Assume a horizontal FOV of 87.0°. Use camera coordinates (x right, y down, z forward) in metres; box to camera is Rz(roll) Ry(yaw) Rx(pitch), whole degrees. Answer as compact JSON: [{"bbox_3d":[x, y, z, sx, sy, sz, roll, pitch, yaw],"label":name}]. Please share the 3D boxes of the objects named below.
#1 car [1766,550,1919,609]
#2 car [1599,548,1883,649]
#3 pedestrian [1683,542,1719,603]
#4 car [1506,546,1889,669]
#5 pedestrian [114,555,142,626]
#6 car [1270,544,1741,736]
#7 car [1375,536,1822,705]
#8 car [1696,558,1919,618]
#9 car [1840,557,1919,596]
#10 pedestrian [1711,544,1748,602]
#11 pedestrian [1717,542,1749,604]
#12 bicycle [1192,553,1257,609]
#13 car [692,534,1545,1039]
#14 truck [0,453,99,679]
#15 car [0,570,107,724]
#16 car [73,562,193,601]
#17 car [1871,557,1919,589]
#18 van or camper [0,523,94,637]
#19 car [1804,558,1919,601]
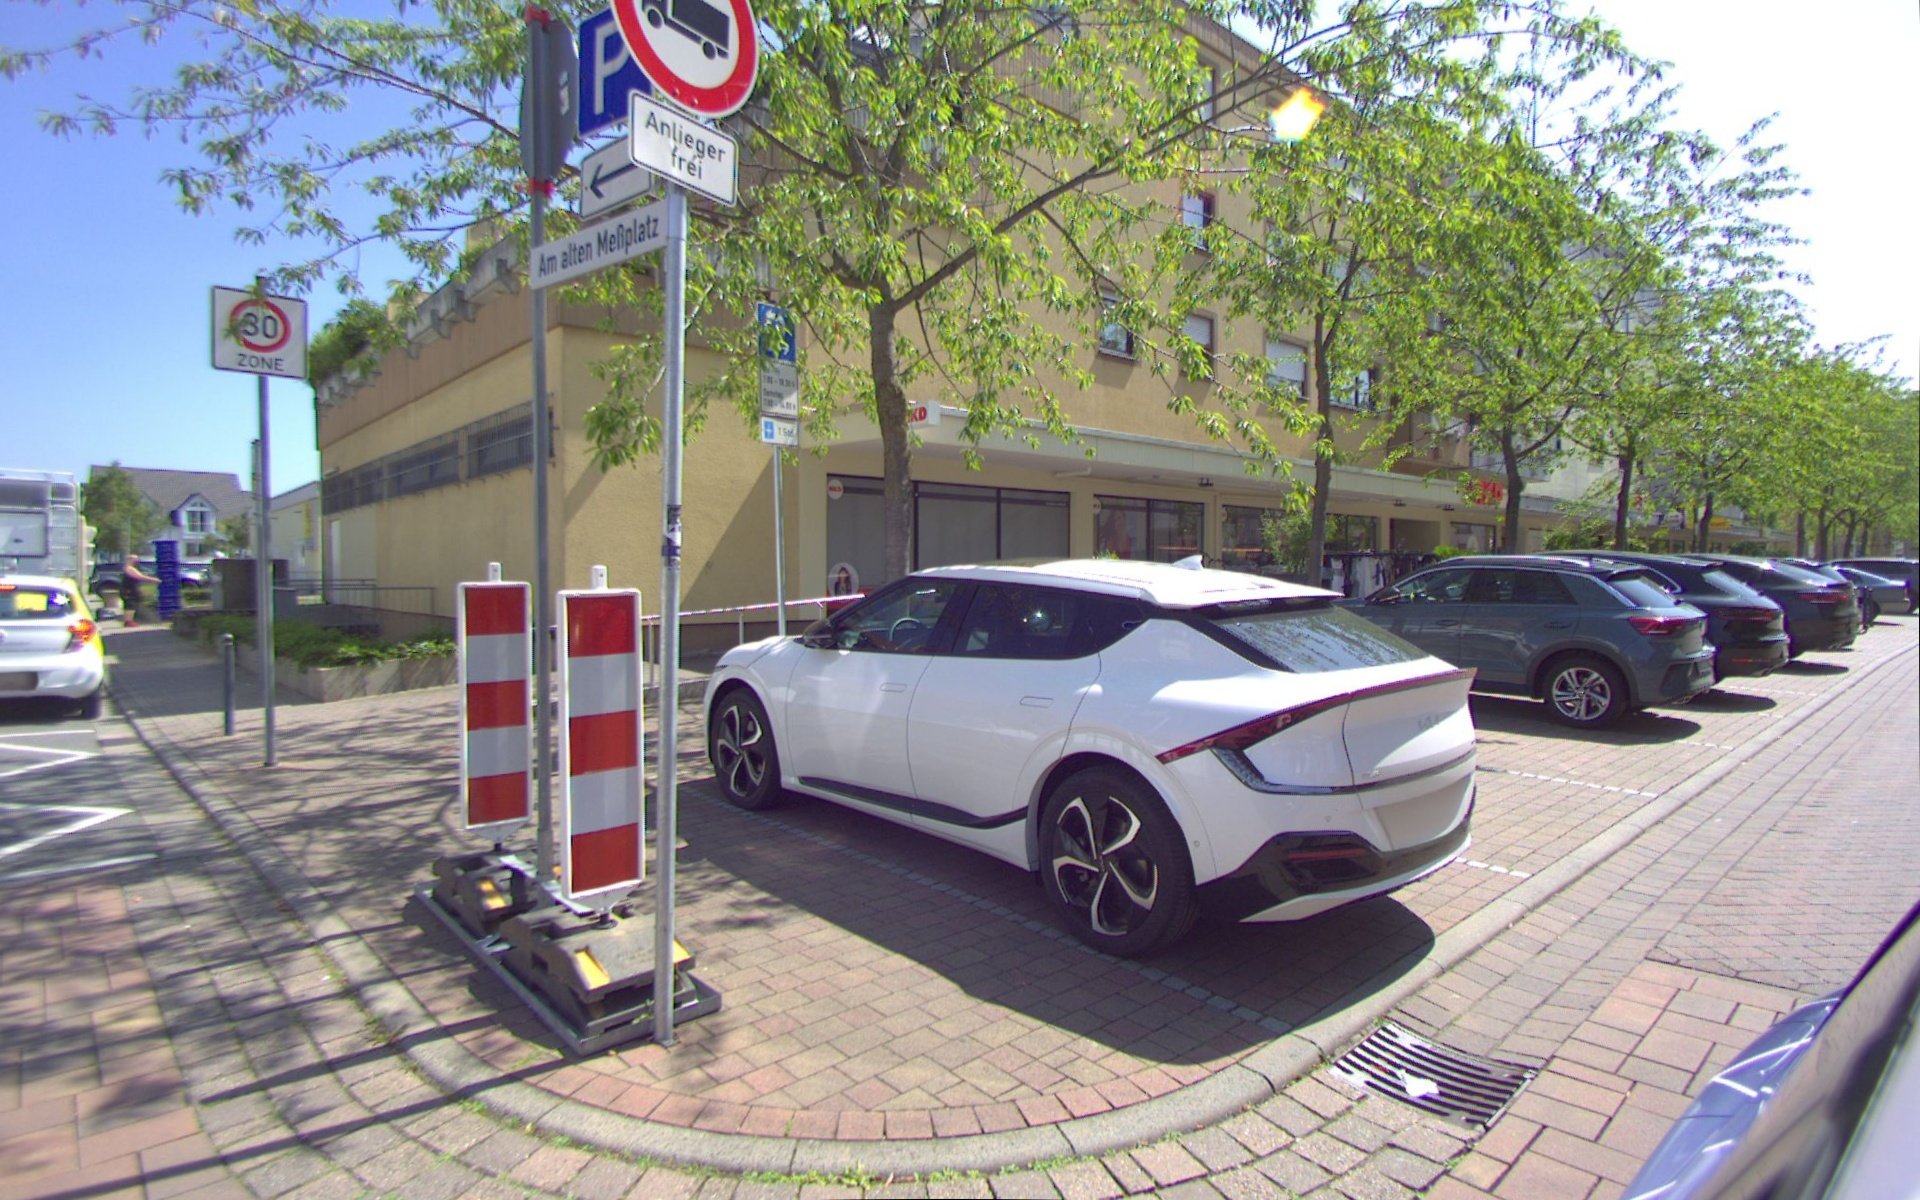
[{"bbox_3d":[27.088,-0.640,30.416,1.728,1.637,4.249,-2,4,-43],"label":"car"},{"bbox_3d":[14.704,-0.129,19.225,1.653,1.631,4.033,-2,5,-43],"label":"car"},{"bbox_3d":[22.165,-0.821,30.289,0.621,1.795,0.685,0,1,10],"label":"pedestrian"},{"bbox_3d":[11.318,-0.011,15.836,1.818,1.607,4.519,-2,4,-40],"label":"car"},{"bbox_3d":[-20.859,-0.248,25.380,0.492,1.752,0.760,-1,2,-39],"label":"pedestrian"},{"bbox_3d":[5.513,0.232,10.595,1.794,1.552,3.950,-2,5,-43],"label":"car"},{"bbox_3d":[7.640,0.086,12.418,1.968,1.701,4.283,-2,4,-44],"label":"car"},{"bbox_3d":[22.296,-0.368,26.719,4.346,1.481,1.873,1,3,28],"label":"car"},{"bbox_3d":[37.182,-0.931,39.725,1.586,1.448,3.798,-2,4,-41],"label":"car"},{"bbox_3d":[23.536,-0.830,30.967,0.634,1.752,0.617,-2,1,-8],"label":"pedestrian"},{"bbox_3d":[22.972,-0.813,30.083,0.598,1.818,0.624,0,1,20],"label":"pedestrian"},{"bbox_3d":[5.618,-0.420,21.463,1.744,1.137,0.413,-3,2,-41],"label":"bicycle"},{"bbox_3d":[0.390,0.470,5.471,1.758,1.595,4.448,-2,4,-42],"label":"car"},{"bbox_3d":[-15.168,-0.520,15.854,2.501,3.042,6.397,-2,2,-41],"label":"truck"},{"bbox_3d":[-10.472,0.416,11.081,1.626,1.470,3.620,-1,2,-42],"label":"car"},{"bbox_3d":[-35.529,-0.816,43.535,3.873,1.596,1.653,-2,3,-45],"label":"car"},{"bbox_3d":[44.361,-1.238,46.596,1.435,1.407,3.399,-2,4,-41],"label":"car"},{"bbox_3d":[-22.220,-0.511,24.275,2.034,2.509,4.664,-2,3,-42],"label":"van or camper"},{"bbox_3d":[34.966,-0.814,38.187,1.776,1.562,4.582,-2,3,-41],"label":"car"}]
